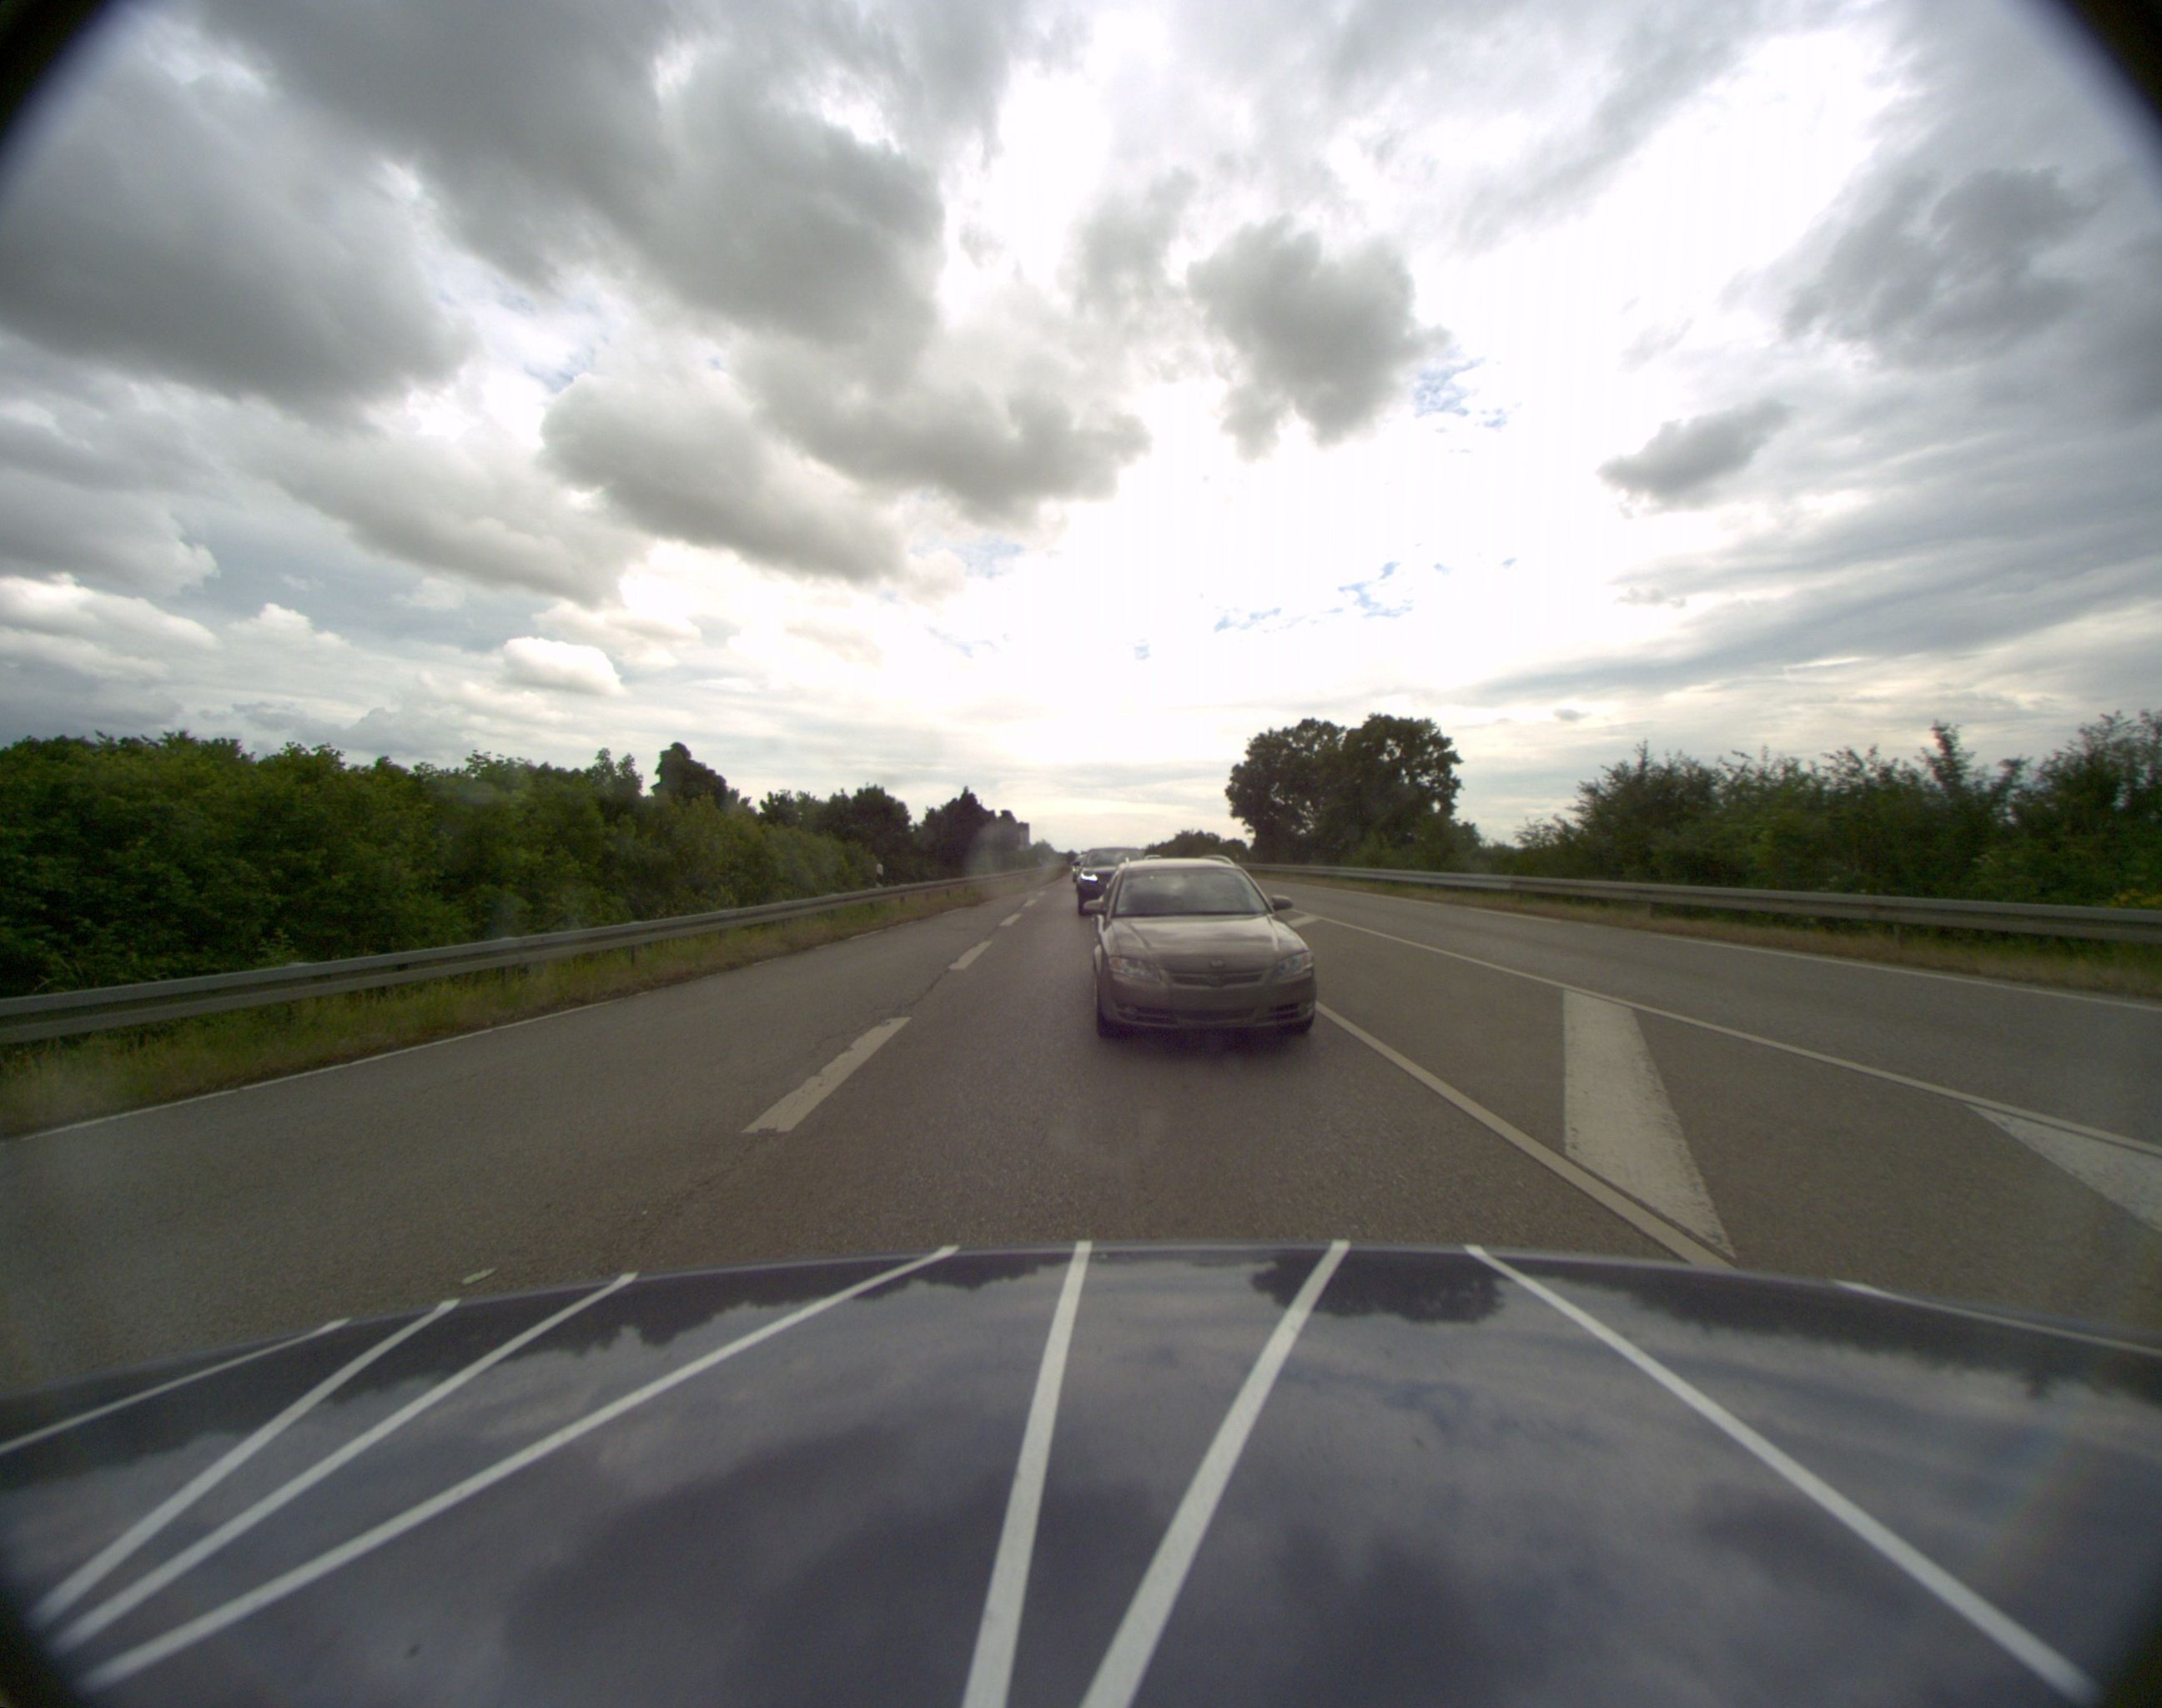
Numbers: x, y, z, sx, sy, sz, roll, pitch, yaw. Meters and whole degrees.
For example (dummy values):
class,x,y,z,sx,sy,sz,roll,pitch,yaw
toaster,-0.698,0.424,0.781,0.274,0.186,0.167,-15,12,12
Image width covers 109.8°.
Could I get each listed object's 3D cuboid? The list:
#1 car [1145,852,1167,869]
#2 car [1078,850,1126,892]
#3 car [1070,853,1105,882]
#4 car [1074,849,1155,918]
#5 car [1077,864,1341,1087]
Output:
class,x,y,z,sx,sy,sz,roll,pitch,yaw
car,6.648,0.586,67.969,1.824,1.366,4.612,-1,1,4
car,0.827,0.655,31.142,1.834,1.538,4.034,-1,0,1
car,0.371,0.714,43.138,1.834,1.538,4.034,-1,0,1
car,0.800,0.684,19.510,1.834,1.538,4.034,-1,0,1
car,0.909,0.863,7.245,1.784,1.442,4.034,-1,0,1
